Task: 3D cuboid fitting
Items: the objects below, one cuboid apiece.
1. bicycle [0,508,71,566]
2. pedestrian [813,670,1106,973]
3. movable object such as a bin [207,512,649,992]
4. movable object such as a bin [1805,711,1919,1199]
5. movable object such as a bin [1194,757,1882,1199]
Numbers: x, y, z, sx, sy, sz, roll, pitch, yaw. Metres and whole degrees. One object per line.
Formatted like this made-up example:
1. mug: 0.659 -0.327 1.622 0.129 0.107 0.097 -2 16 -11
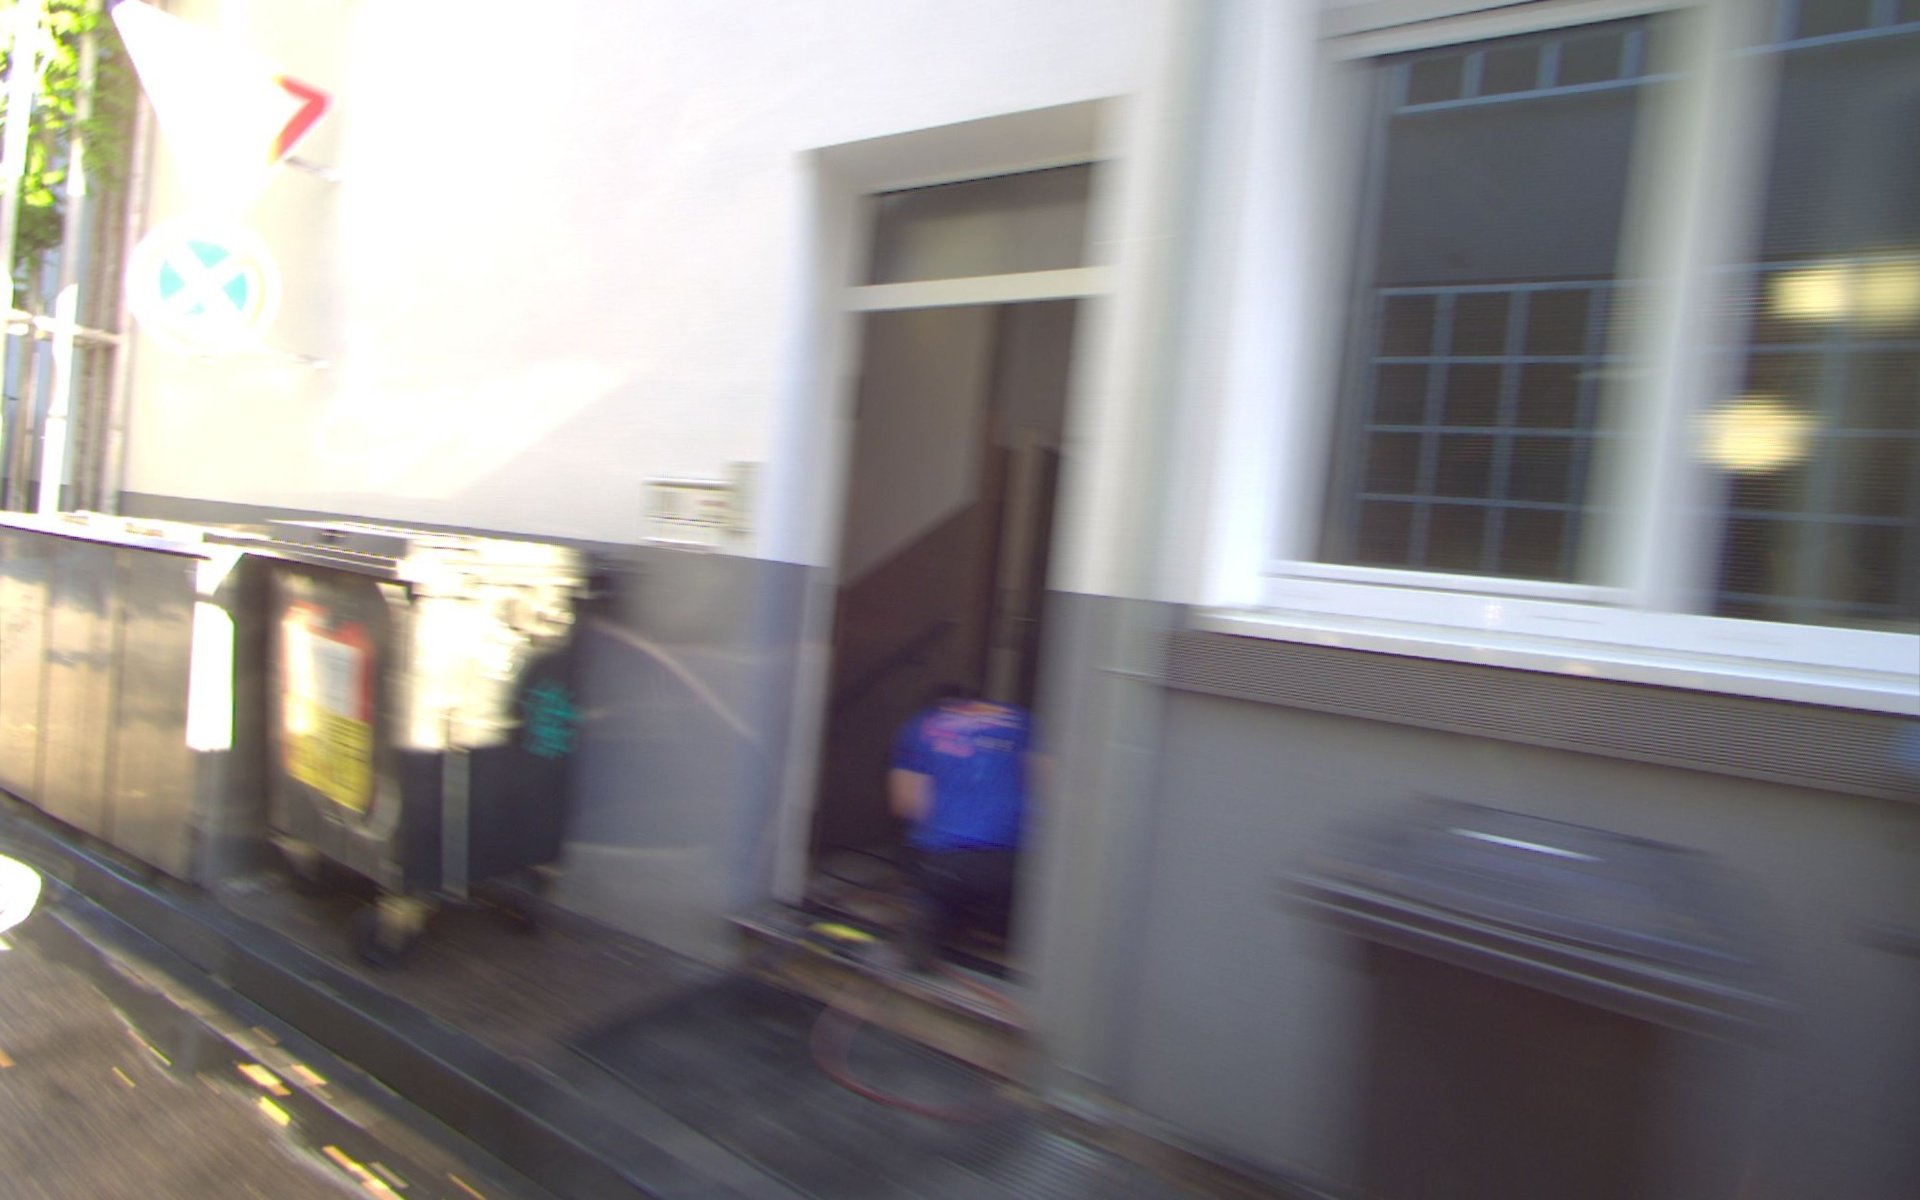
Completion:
1. bicycle: -19.194 -1.299 20.464 1.648 1.065 0.655 2 5 -42
2. pedestrian: 0.009 0.709 3.493 0.708 0.819 0.609 8 0 31
3. movable object such as a bin: -1.896 0.420 3.565 1.269 1.323 0.835 7 4 34
4. movable object such as a bin: 1.894 0.945 1.052 1.319 1.385 1.065 7 3 29
5. movable object such as a bin: 0.880 0.922 1.716 0.726 1.089 0.869 7 3 29
